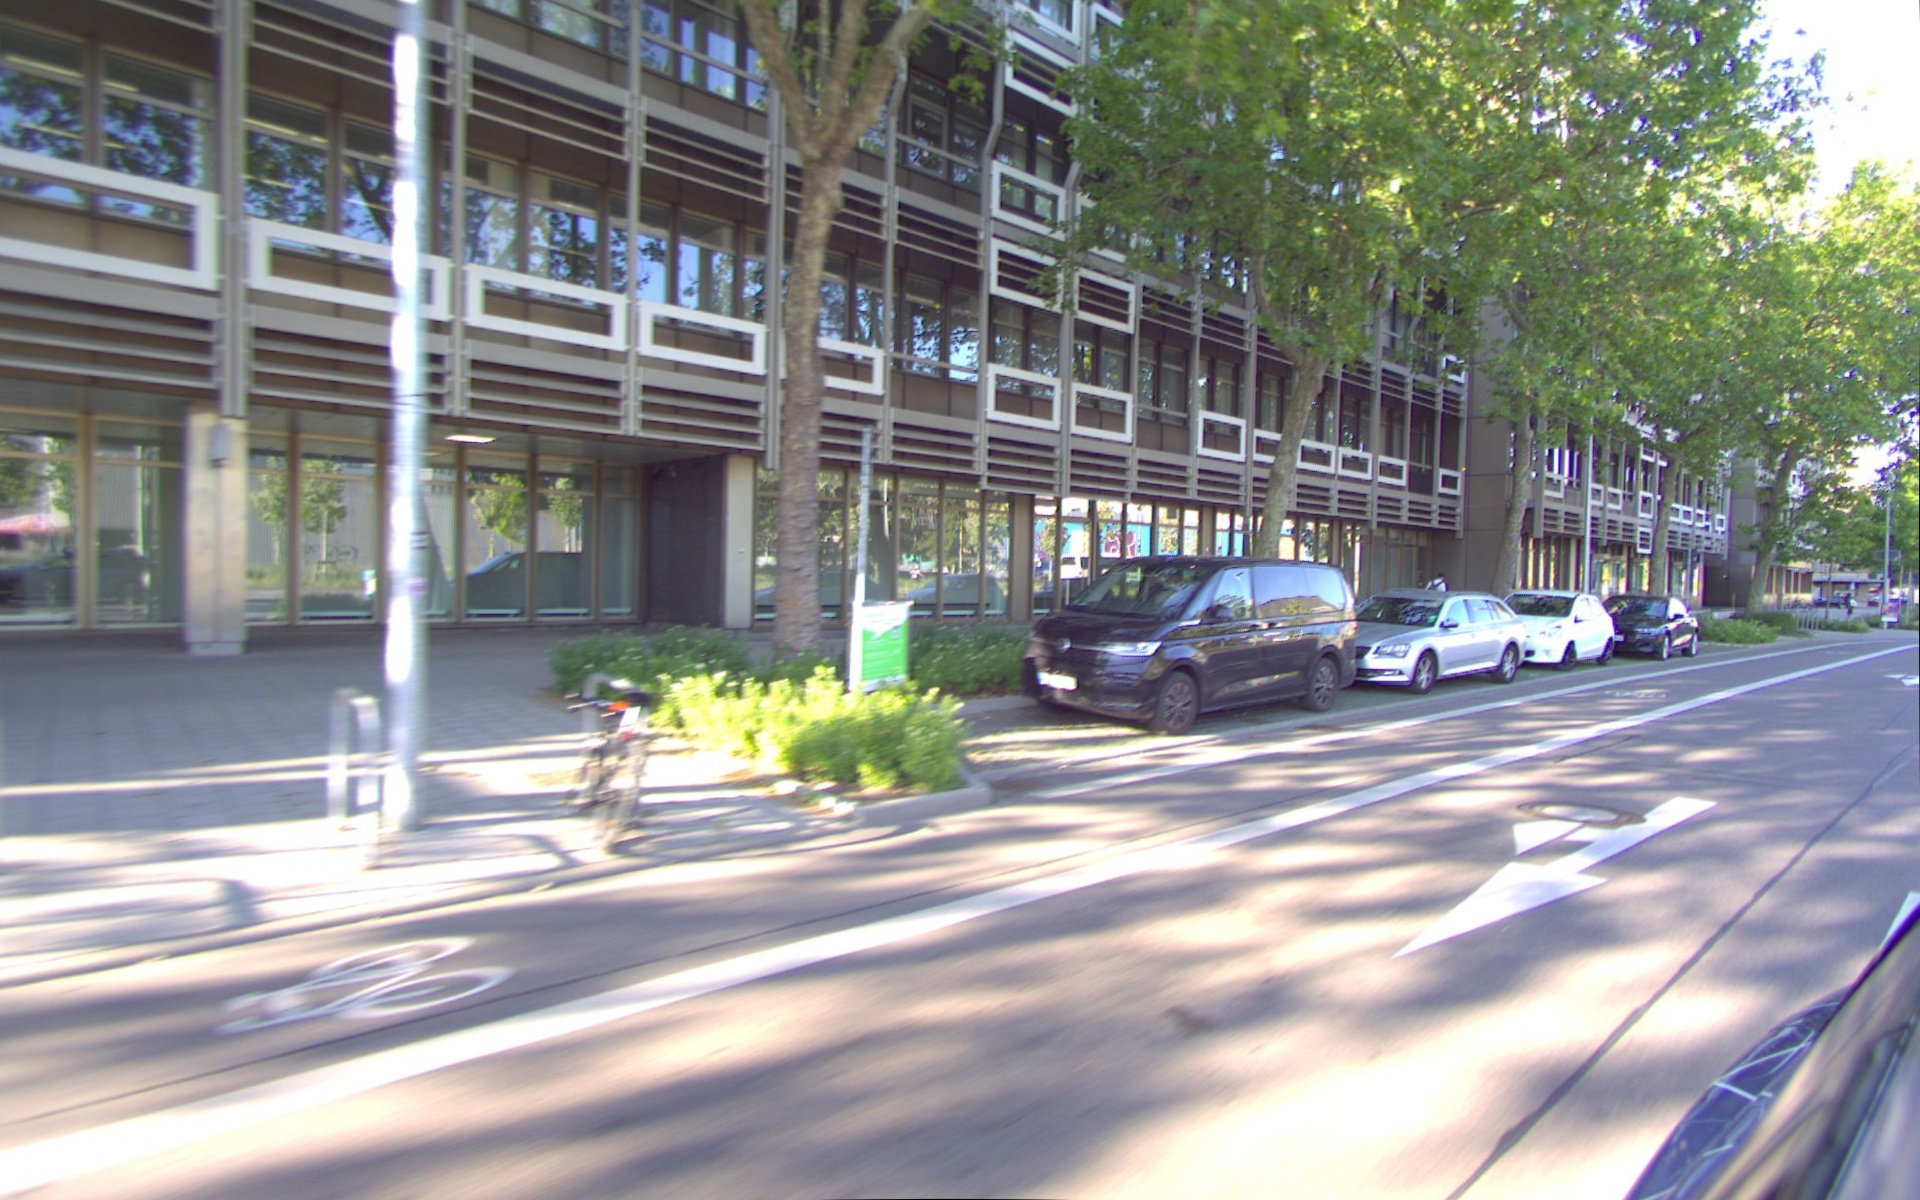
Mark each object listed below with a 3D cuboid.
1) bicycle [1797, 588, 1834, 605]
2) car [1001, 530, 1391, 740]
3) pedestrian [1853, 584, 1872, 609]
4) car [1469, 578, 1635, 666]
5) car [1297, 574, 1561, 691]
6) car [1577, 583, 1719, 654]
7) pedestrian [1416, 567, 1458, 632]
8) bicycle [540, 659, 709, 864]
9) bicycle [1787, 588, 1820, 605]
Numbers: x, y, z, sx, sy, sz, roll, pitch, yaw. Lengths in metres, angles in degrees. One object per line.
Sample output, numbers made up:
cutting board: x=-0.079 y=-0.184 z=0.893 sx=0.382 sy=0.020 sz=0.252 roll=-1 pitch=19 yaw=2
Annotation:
bicycle: x=58.364 y=-0.252 z=69.037 sx=1.898 sy=1.106 sz=0.386 roll=4 pitch=3 yaw=41
car: x=3.041 y=0.283 z=12.198 sx=5.230 sy=1.994 sz=1.833 roll=0 pitch=4 yaw=-42
pedestrian: x=59.952 y=-0.238 z=67.246 sx=1.118 sy=1.668 sz=0.790 roll=0 pitch=3 yaw=-44
car: x=11.815 y=0.374 z=20.115 sx=3.807 sy=1.496 sz=1.685 roll=0 pitch=4 yaw=-41
car: x=7.618 y=0.432 z=16.211 sx=4.966 sy=1.532 sz=1.687 roll=0 pitch=4 yaw=-38
car: x=16.232 y=0.378 z=23.814 sx=4.202 sy=1.435 sz=1.710 roll=0 pitch=4 yaw=-41
pedestrian: x=14.107 y=-0.025 z=29.922 sx=0.832 sy=1.879 sz=0.833 roll=0 pitch=1 yaw=-42
bicycle: x=-2.097 y=0.902 z=6.184 sx=0.561 sy=0.877 sz=1.699 roll=0 pitch=3 yaw=-33
bicycle: x=56.439 y=-0.241 z=67.721 sx=0.385 sy=1.095 sz=1.630 roll=0 pitch=3 yaw=-41
